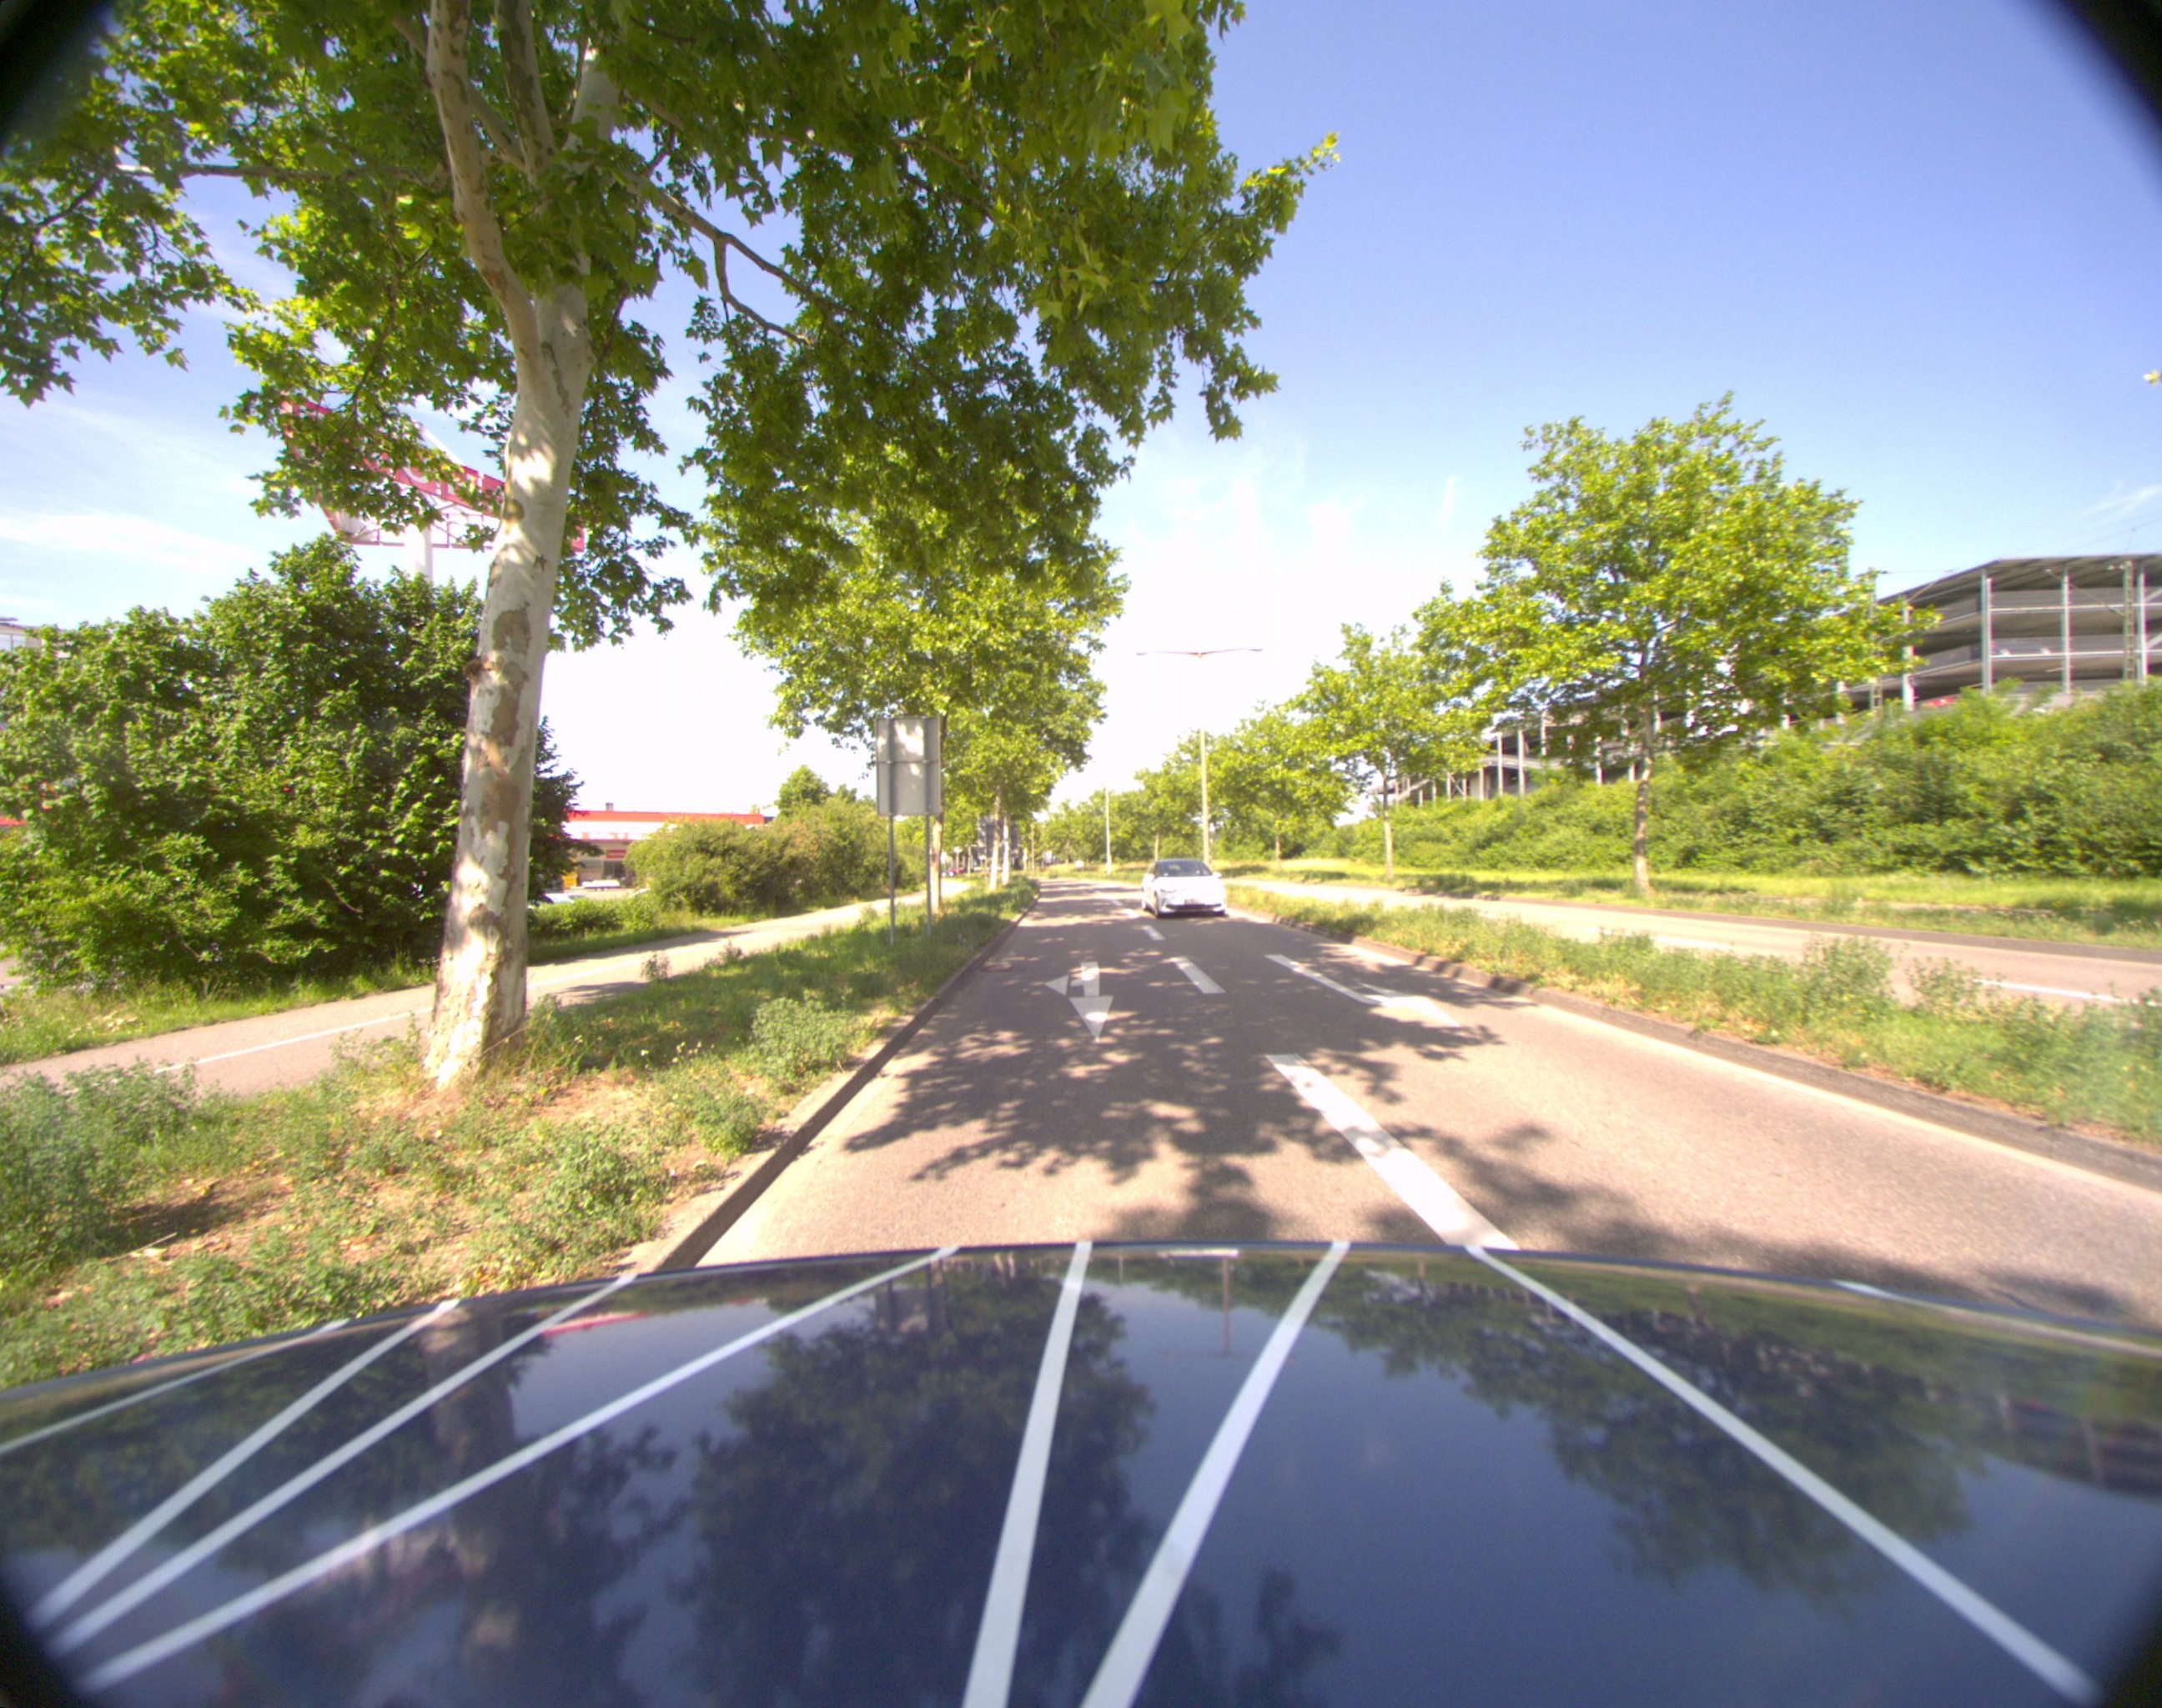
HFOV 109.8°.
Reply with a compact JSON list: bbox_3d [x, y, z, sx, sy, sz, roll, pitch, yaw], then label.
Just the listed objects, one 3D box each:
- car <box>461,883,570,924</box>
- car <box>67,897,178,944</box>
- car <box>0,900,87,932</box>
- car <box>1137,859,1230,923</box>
[{"bbox_3d":[-21.409,1.870,28.841,3.161,1.447,1.195,-1,0,-2],"label":"car"},{"bbox_3d":[-36.178,2.442,28.794,1.784,1.477,3.779,-2,0,-39],"label":"car"},{"bbox_3d":[-52.198,3.085,38.289,1.572,1.371,3.610,-2,0,-37],"label":"car"},{"bbox_3d":[2.734,0.944,21.201,1.824,1.512,4.207,-2,0,-2],"label":"car"}]
